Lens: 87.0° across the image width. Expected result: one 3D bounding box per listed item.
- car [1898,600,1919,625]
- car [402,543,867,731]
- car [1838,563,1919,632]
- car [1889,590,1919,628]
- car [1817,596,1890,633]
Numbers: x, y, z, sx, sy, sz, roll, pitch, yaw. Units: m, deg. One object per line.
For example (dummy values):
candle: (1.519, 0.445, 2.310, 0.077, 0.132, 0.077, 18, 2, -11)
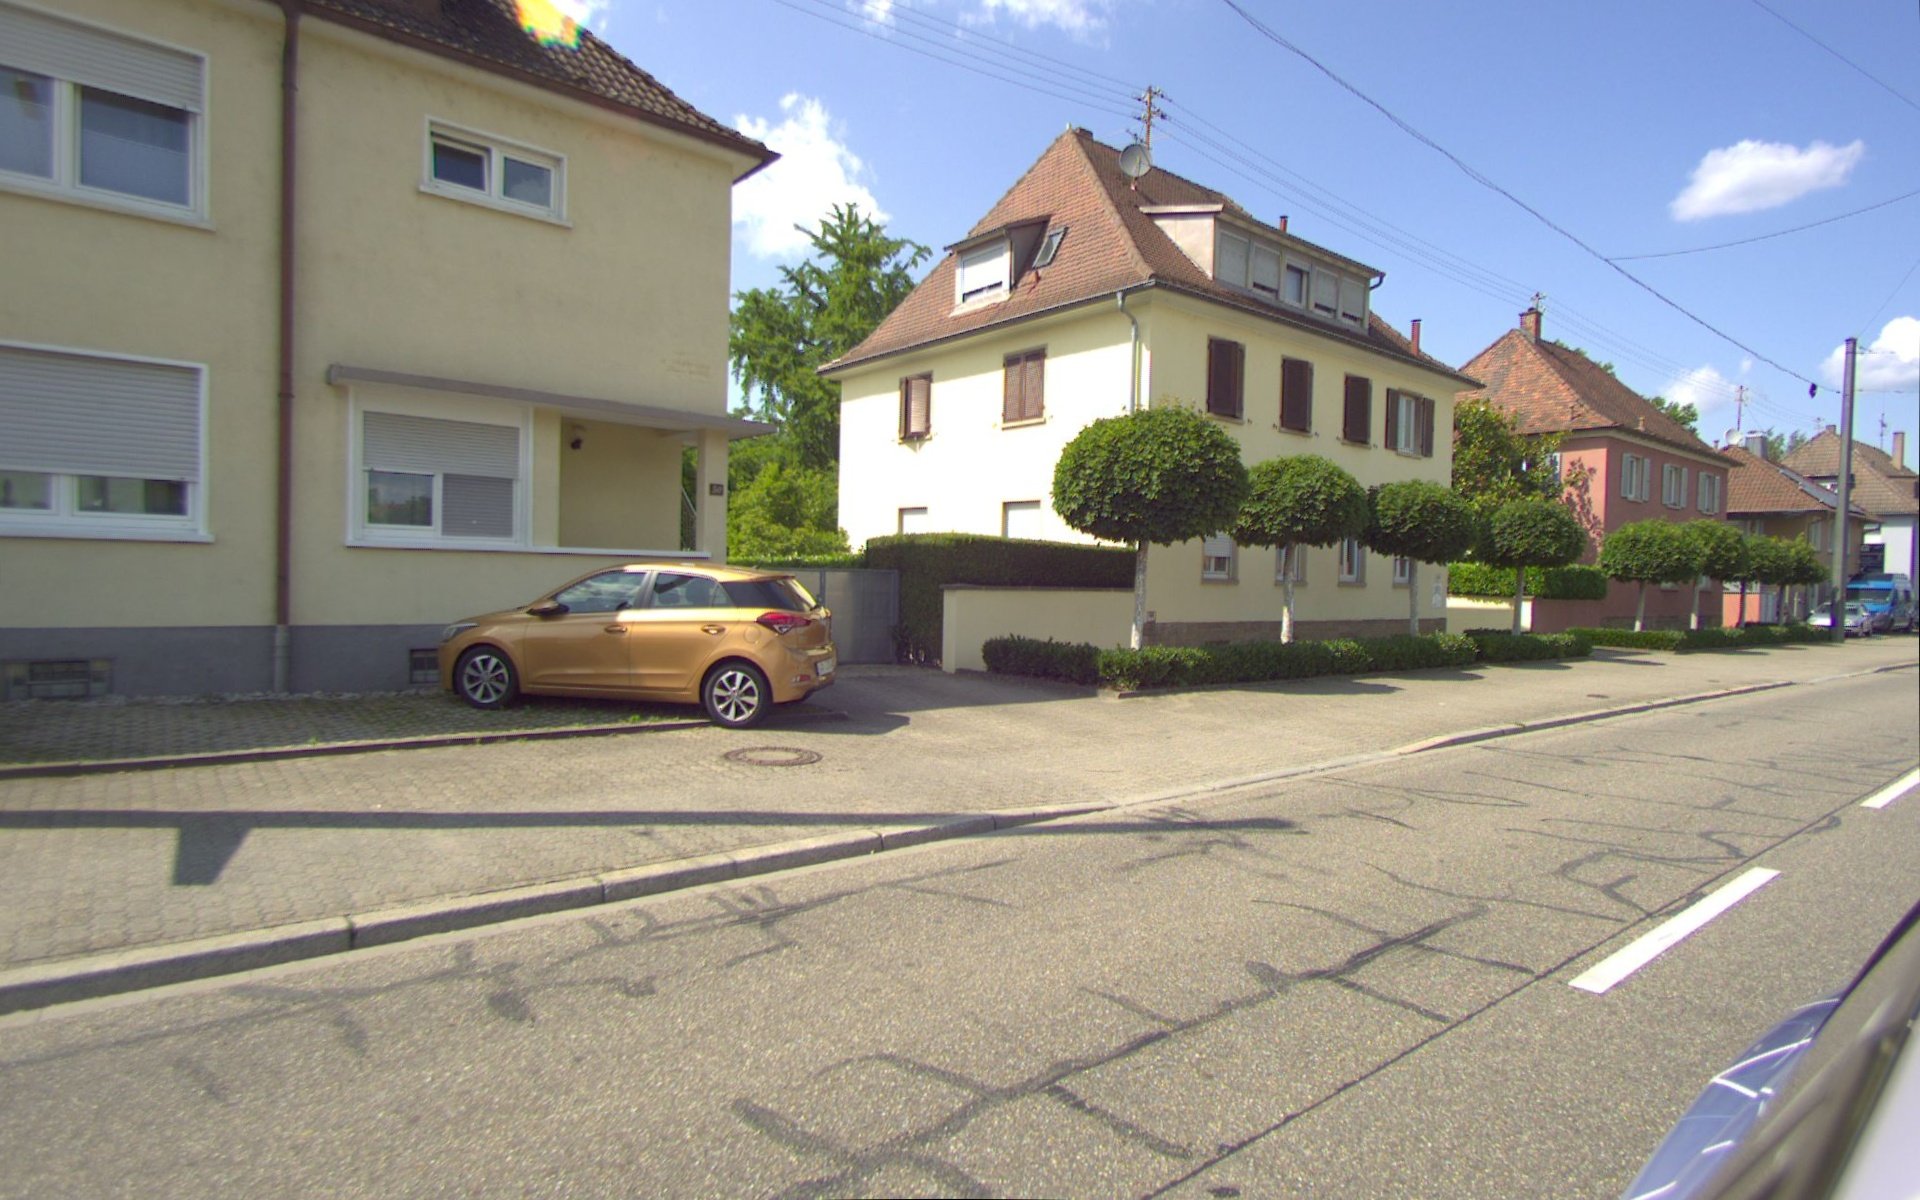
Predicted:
car: (55.329, 0.740, 56.834, 1.695, 1.397, 3.660, 0, 2, -37)
car: (-3.160, 0.301, 10.250, 4.027, 1.476, 1.911, 3, 1, 10)
car: (42.755, -0.135, 46.578, 6.126, 2.967, 2.158, 0, 0, -36)
car: (47.808, 0.480, 50.039, 4.773, 1.732, 1.843, 1, 3, -37)
car: (37.440, 0.569, 42.359, 4.273, 1.426, 1.653, 0, 3, -40)
